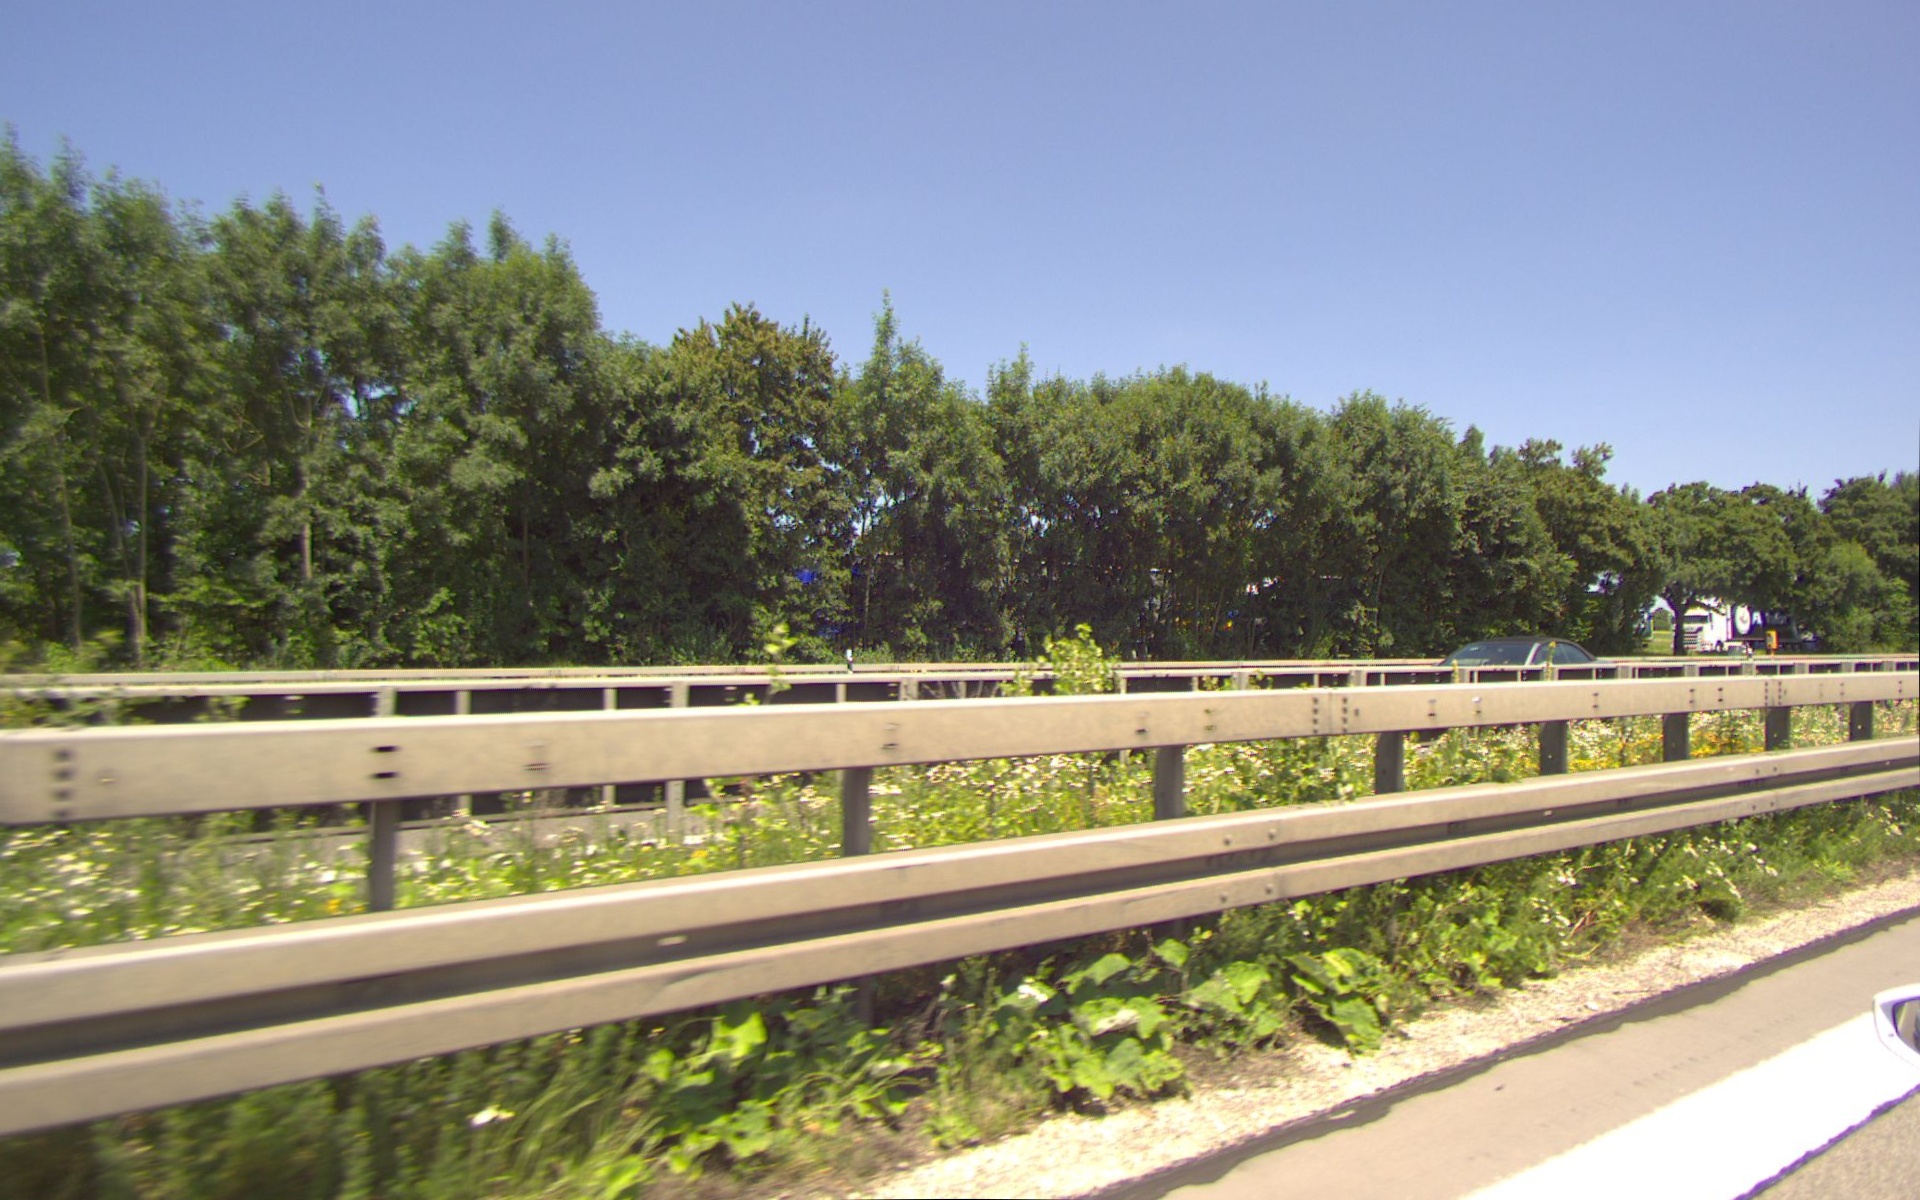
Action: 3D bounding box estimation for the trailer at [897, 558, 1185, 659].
[{"bbox_3d":[3.682,0.493,41.459,13.031,3.746,1.984,2,0,-31],"label":"trailer"}]

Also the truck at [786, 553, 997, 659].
[{"bbox_3d":[-2.456,0.311,37.852,7.810,3.696,1.984,2,0,-31],"label":"truck"}]

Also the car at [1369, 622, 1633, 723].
[{"bbox_3d":[8.404,1.068,15.547,3.953,1.327,1.791,2,0,-30],"label":"car"}]

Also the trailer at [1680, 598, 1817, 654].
[{"bbox_3d":[58.563,1.993,74.368,14.239,3.829,2.755,2,0,-30],"label":"trailer"}]

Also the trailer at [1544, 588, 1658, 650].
[{"bbox_3d":[40.972,1.256,64.119,8.615,3.710,2.532,2,0,-31],"label":"trailer"}]

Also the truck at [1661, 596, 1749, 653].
[{"bbox_3d":[52.686,1.745,71.008,6.026,3.833,2.784,2,0,-30],"label":"truck"}]
